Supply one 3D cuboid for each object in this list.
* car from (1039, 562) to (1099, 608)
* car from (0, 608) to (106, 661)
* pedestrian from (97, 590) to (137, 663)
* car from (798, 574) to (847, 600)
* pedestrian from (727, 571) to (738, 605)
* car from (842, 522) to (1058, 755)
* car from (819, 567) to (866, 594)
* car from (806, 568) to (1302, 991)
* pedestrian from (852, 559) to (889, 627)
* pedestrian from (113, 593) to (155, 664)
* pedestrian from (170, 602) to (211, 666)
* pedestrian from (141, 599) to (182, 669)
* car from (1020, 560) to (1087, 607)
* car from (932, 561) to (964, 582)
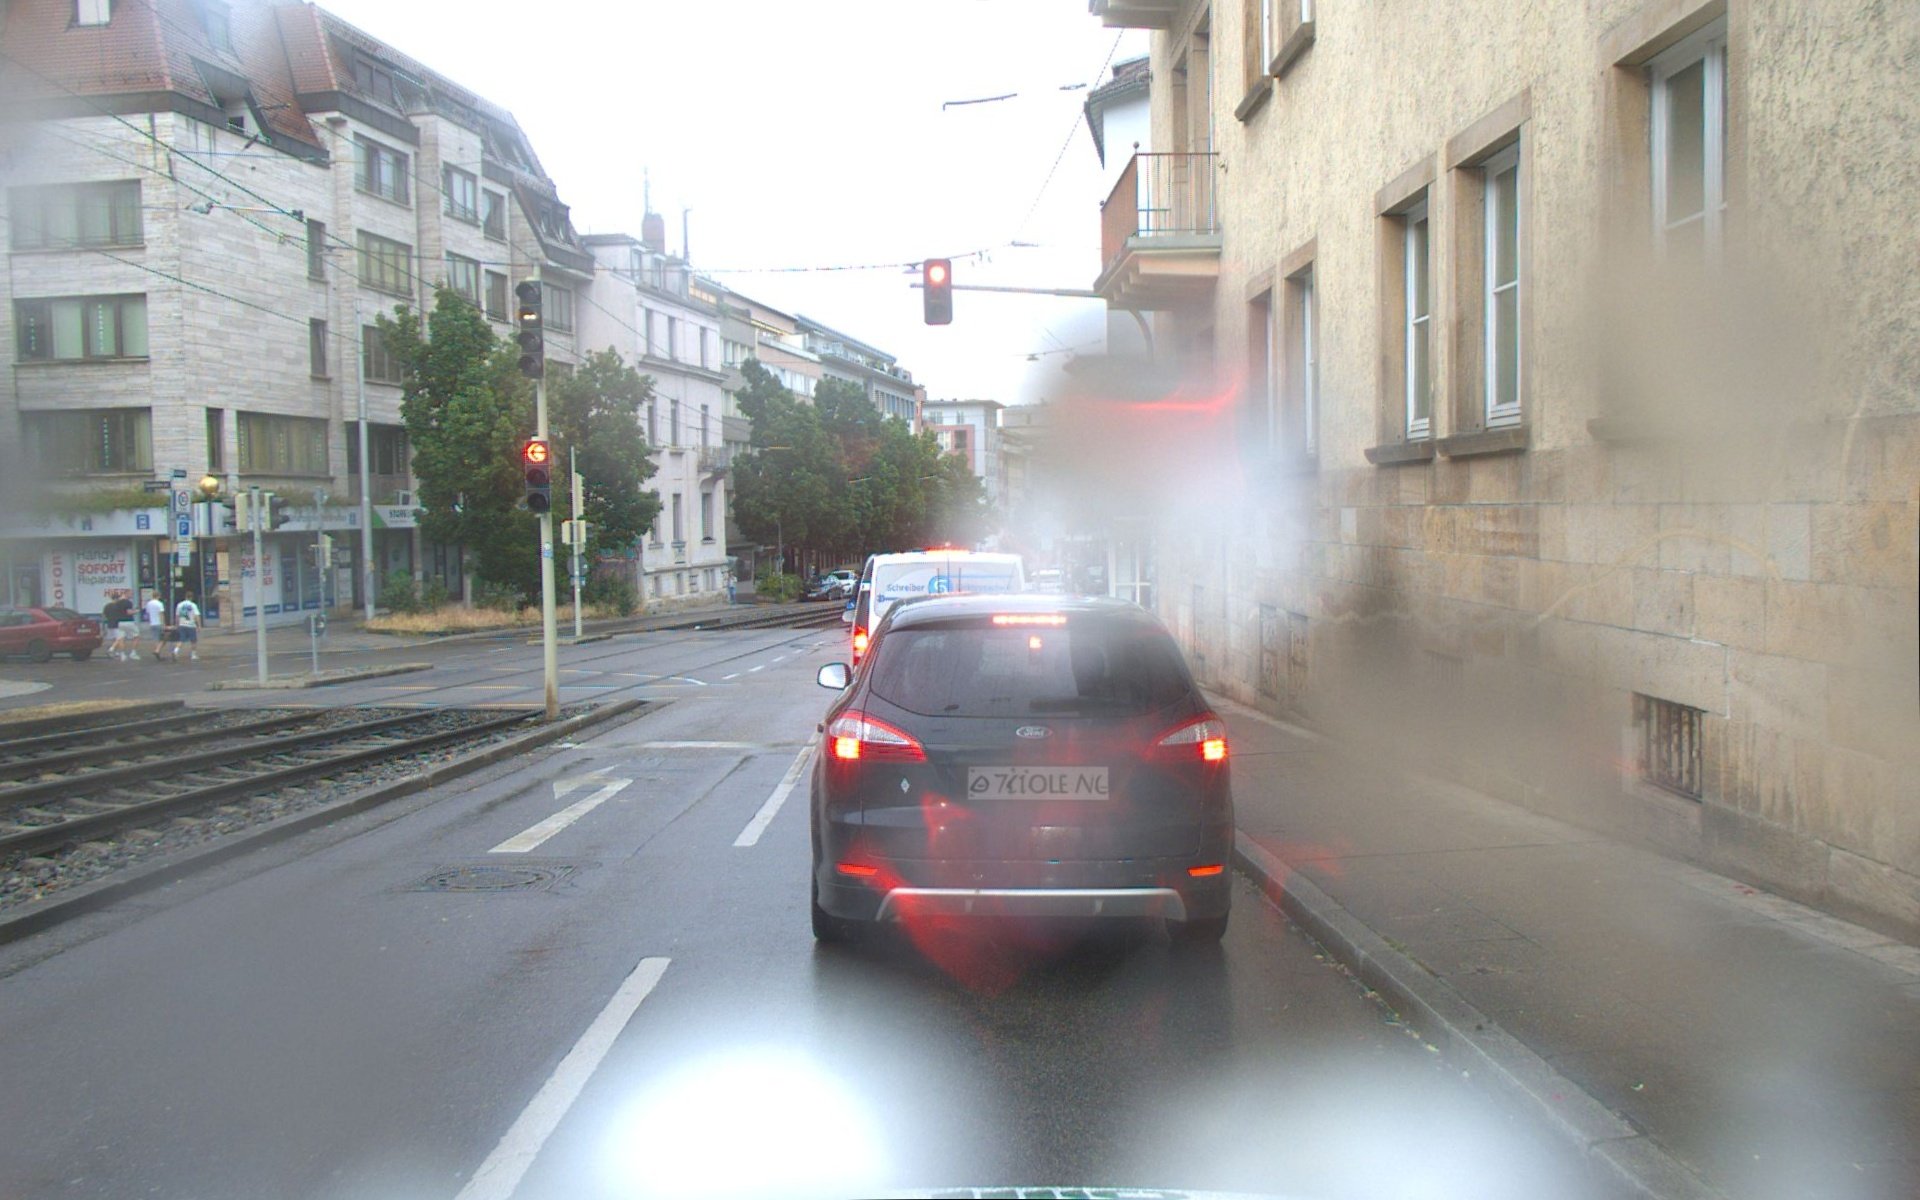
[{"bbox_3d":[4.226,-0.552,63.404,1.806,1.661,4.590,-1,0,10],"label":"car"},{"bbox_3d":[-24.373,0.896,43.102,3.615,1.341,1.595,-1,0,14],"label":"car"},{"bbox_3d":[-22.056,0.689,43.287,0.634,1.875,0.684,1,0,7],"label":"pedestrian"},{"bbox_3d":[-7.808,-0.714,94.410,1.657,1.401,4.725,-1,0,9],"label":"car"},{"bbox_3d":[-11.403,-0.600,82.964,0.458,1.681,0.582,1,0,-3],"label":"pedestrian"},{"bbox_3d":[-0.154,0.354,17.332,1.948,2.096,4.643,1,0,-2],"label":"car"},{"bbox_3d":[-7.109,-1.159,100.501,1.816,1.575,4.725,-1,0,9],"label":"car"},{"bbox_3d":[0.316,0.658,8.047,1.805,1.533,3.999,1,0,-1],"label":"car"},{"bbox_3d":[-2.485,-0.186,45.896,0.911,1.862,0.960,1,0,1],"label":"pedestrian"},{"bbox_3d":[-21.026,0.725,42.110,0.634,1.780,0.684,1,0,7],"label":"pedestrian"},{"bbox_3d":[-19.380,0.845,41.645,0.634,1.576,0.684,1,0,7],"label":"pedestrian"},{"bbox_3d":[-20.216,0.848,41.884,0.634,1.754,0.684,1,0,7],"label":"pedestrian"},{"bbox_3d":[3.259,-0.546,56.935,1.763,1.481,4.590,-2,0,10],"label":"car"},{"bbox_3d":[-0.994,-2.421,140.383,1.816,1.665,4.939,-1,0,9],"label":"car"}]
